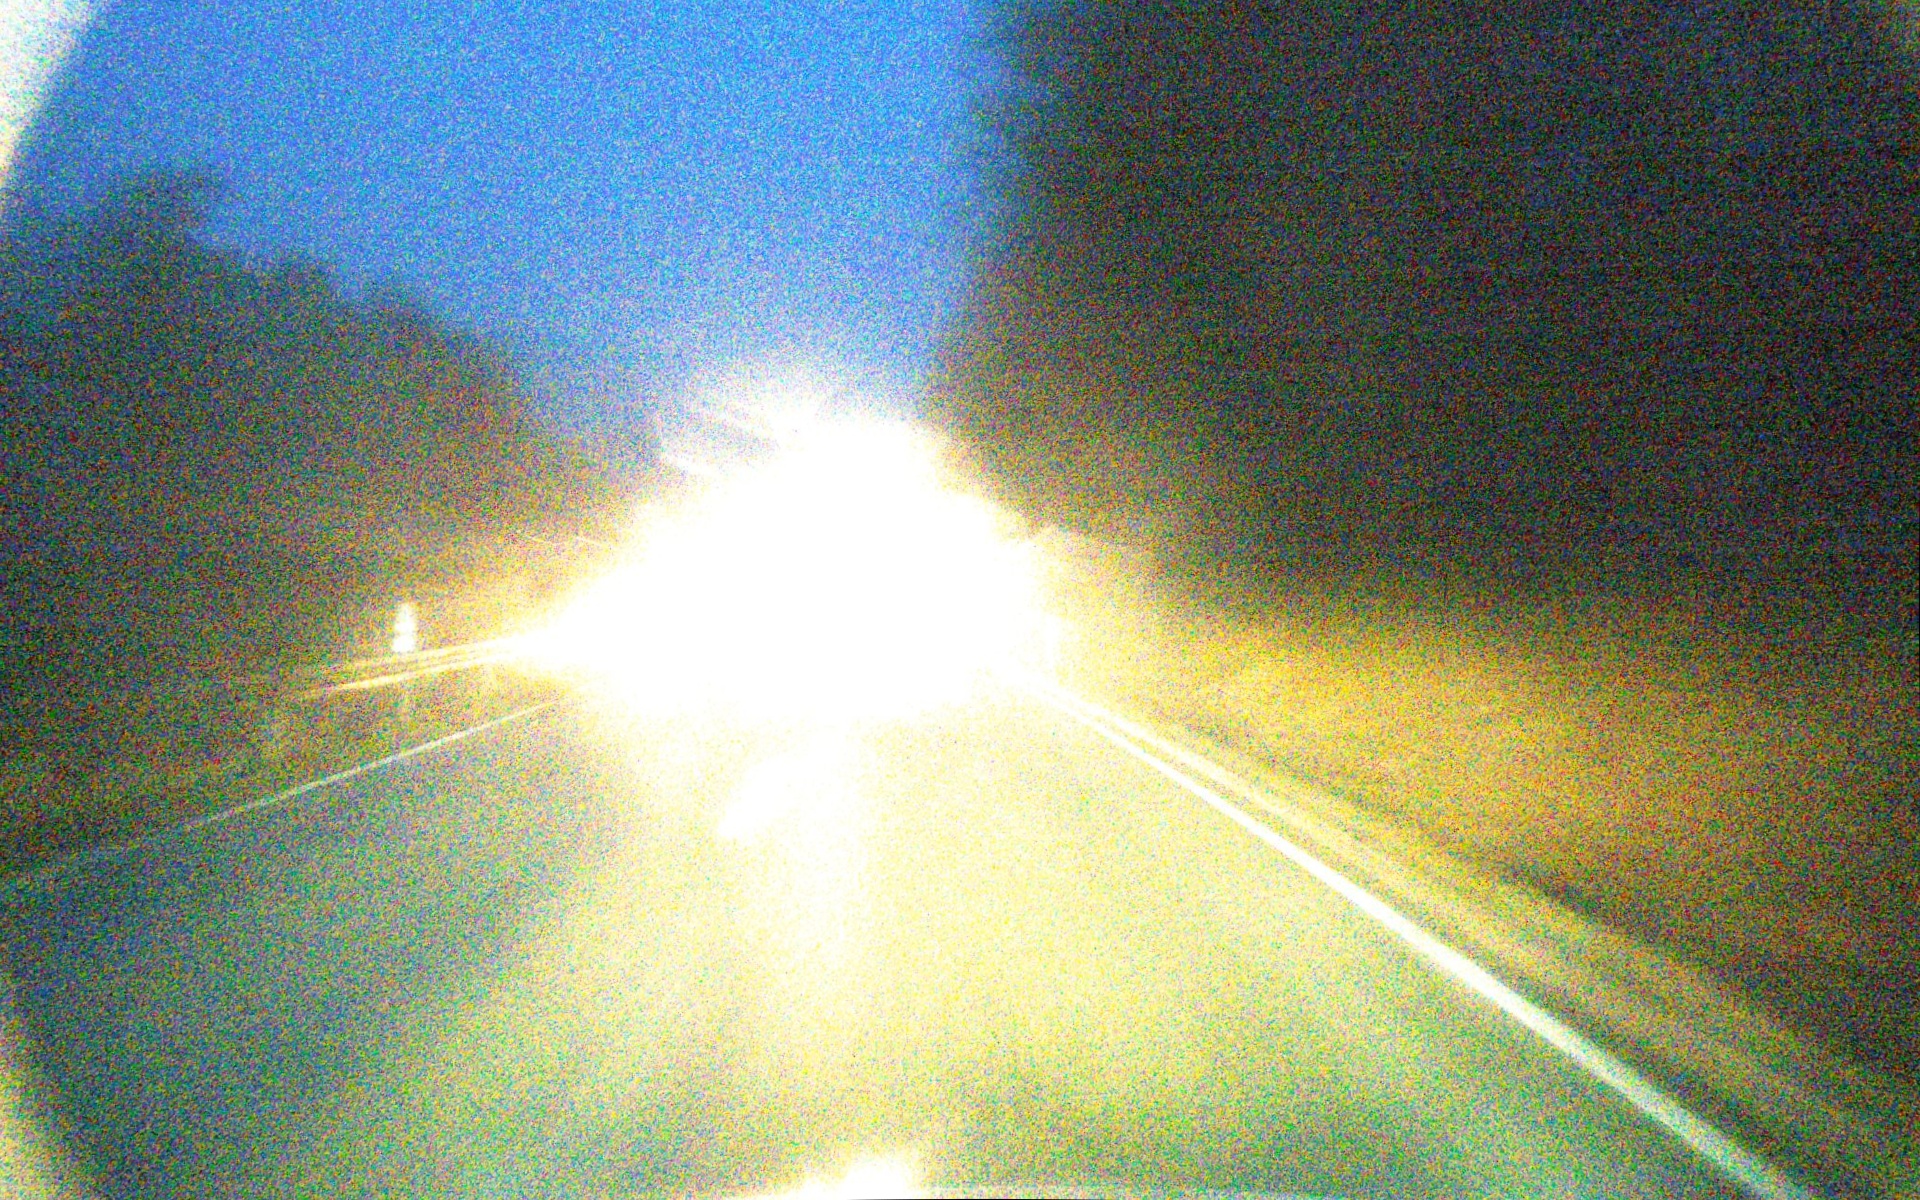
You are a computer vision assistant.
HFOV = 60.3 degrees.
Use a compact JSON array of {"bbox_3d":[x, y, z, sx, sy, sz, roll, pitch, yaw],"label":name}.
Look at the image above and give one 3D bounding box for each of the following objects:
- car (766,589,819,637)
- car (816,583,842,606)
[{"bbox_3d":[-6.046,0.436,60.075,1.687,1.641,4.000,1,0,-3],"label":"car"},{"bbox_3d":[-9.567,-0.418,121.076,1.773,1.628,4.628,3,1,-4],"label":"car"}]
